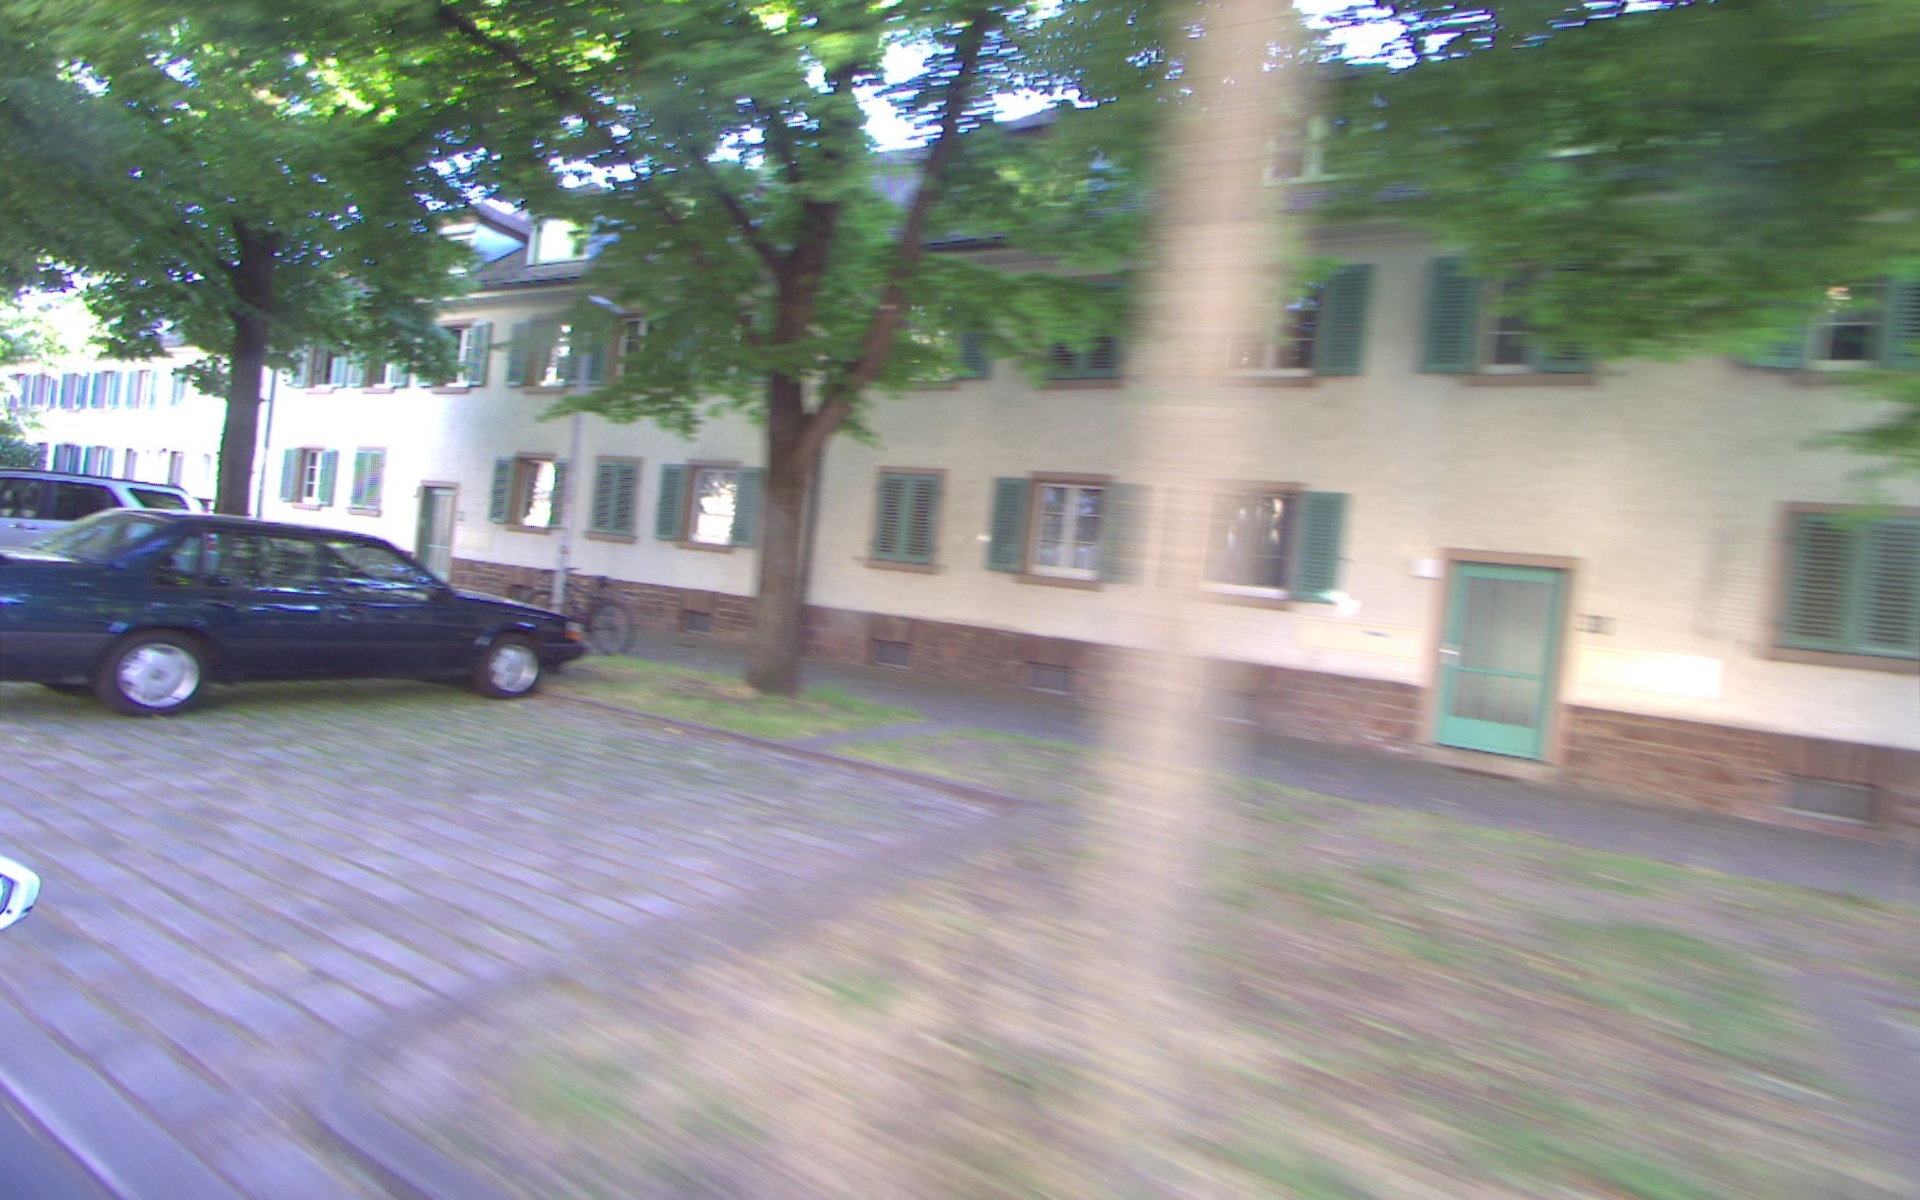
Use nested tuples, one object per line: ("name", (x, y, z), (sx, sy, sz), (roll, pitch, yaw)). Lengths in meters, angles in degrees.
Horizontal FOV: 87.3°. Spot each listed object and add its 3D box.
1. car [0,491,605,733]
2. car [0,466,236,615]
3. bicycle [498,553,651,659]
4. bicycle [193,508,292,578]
("car", (-5.610, 0.066, 8.423), (1.909, 1.461, 4.898), (5, 1, 28))
("car", (-11.785, -0.786, 12.162), (1.909, 1.692, 4.479), (8, 3, 28))
("bicycle", (-5.169, 0.075, 13.484), (1.899, 1.177, 0.630), (7, 0, 23))
("bicycle", (-17.183, -1.366, 24.090), (1.966, 1.417, 0.802), (7, 1, 17))
